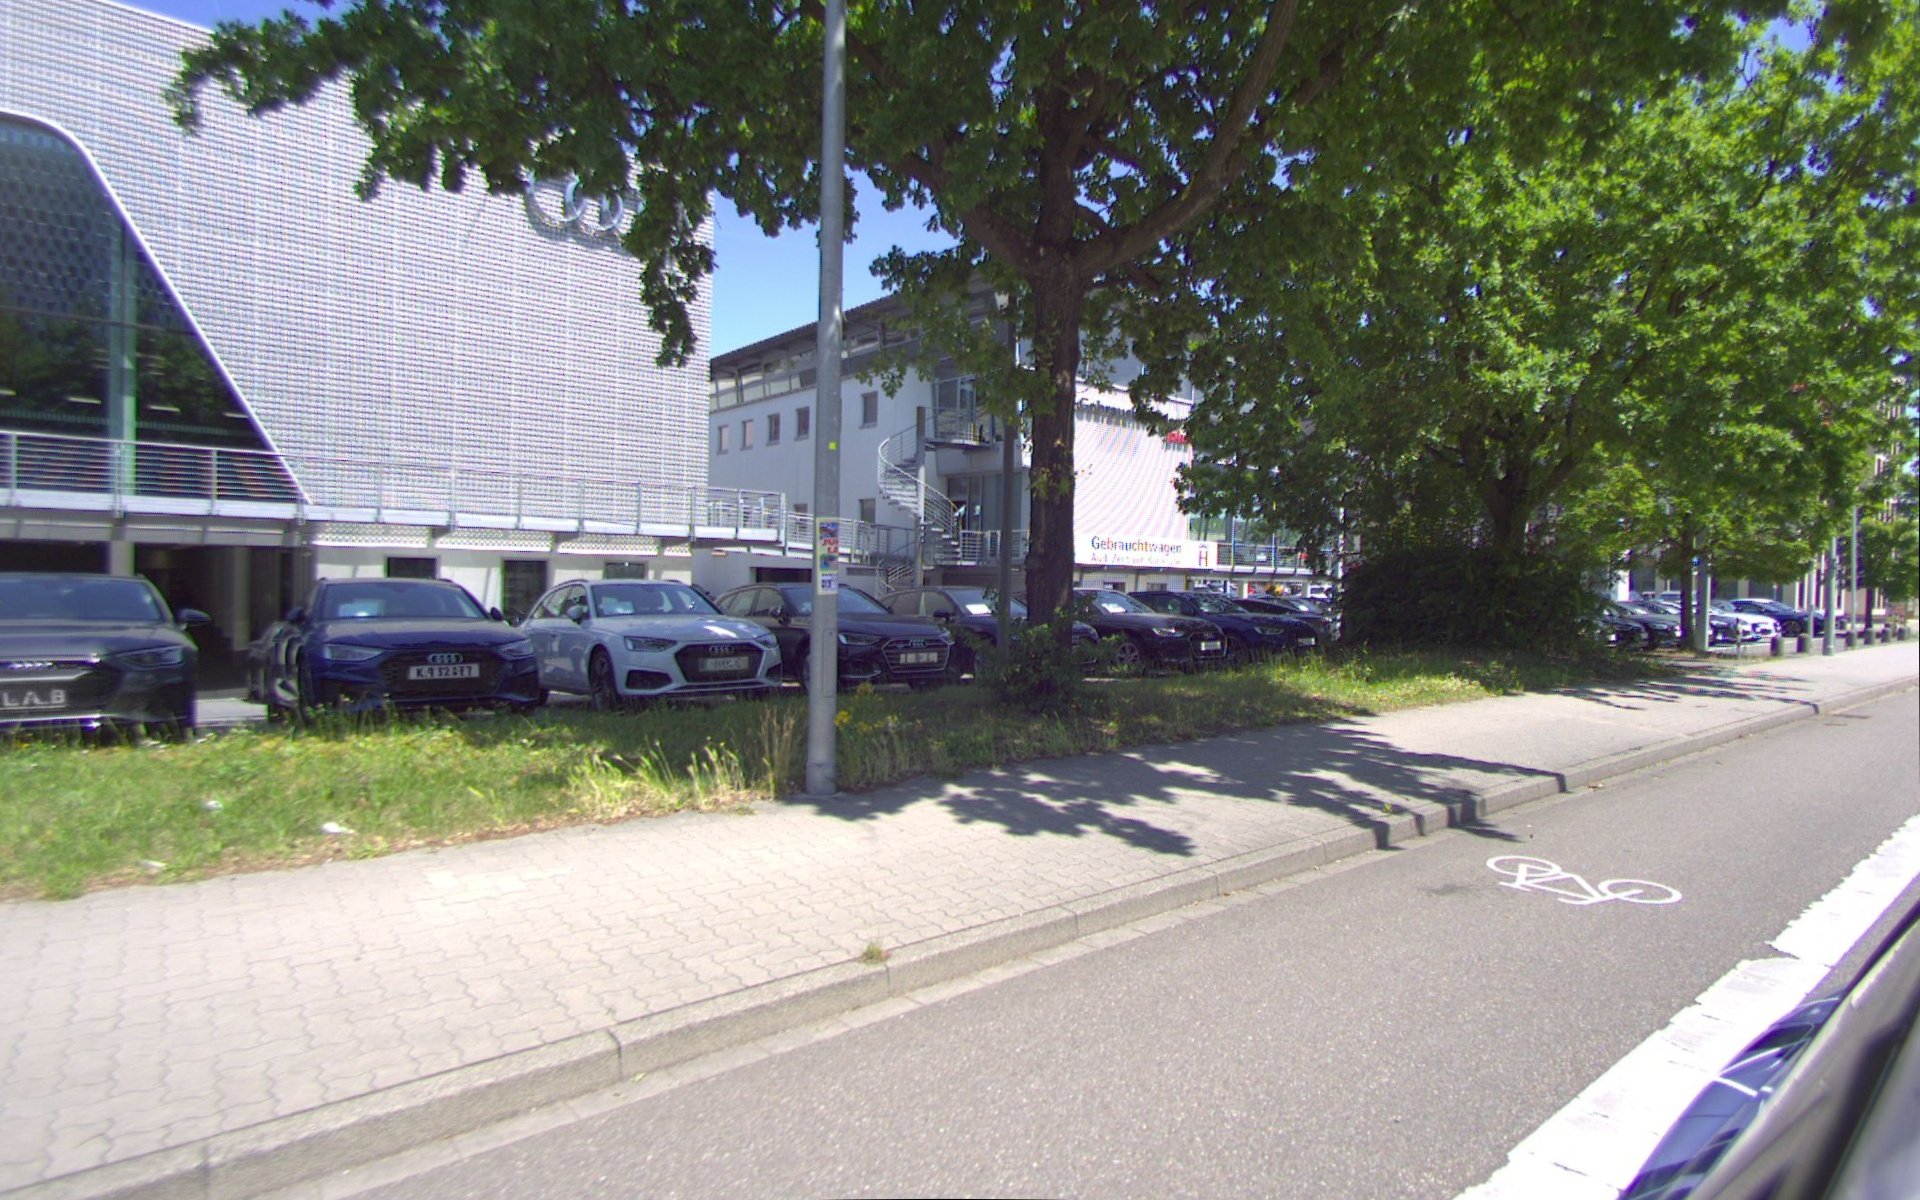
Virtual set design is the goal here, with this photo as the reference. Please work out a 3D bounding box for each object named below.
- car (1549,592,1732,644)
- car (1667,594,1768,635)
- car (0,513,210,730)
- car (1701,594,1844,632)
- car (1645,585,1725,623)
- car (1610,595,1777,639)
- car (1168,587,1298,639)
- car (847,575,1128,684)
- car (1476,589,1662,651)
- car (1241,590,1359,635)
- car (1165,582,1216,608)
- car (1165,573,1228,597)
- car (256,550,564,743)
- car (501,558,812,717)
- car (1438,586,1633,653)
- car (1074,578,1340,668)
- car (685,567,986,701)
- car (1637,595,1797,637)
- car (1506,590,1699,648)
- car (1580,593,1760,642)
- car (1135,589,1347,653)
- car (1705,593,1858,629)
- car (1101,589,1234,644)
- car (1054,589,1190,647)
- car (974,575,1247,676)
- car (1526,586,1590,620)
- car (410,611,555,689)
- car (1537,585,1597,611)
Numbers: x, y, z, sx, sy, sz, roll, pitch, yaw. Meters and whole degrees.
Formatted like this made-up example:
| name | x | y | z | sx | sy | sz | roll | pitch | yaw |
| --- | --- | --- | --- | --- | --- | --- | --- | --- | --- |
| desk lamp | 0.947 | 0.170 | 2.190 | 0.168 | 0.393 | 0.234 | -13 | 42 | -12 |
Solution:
| name | x | y | z | sx | sy | sz | roll | pitch | yaw |
| --- | --- | --- | --- | --- | --- | --- | --- | --- | --- |
| car | 19.930 | 0.517 | 29.773 | 1.835 | 1.423 | 4.109 | 0 | -1 | -39 |
| car | 28.409 | 0.509 | 37.898 | 4.577 | 1.438 | 1.867 | 0 | -1 | -38 |
| car | -7.378 | 0.213 | 8.179 | 1.952 | 1.387 | 4.229 | 0 | -2 | -39 |
| car | 31.990 | 0.509 | 39.932 | 1.835 | 1.408 | 4.104 | 0 | -1 | -39 |
| car | 34.102 | 0.155 | 47.561 | 4.422 | 1.577 | 1.873 | -1 | 3 | -39 |
| car | 24.030 | 0.536 | 33.274 | 1.835 | 1.366 | 4.108 | 0 | -1 | -39 |
| car | 9.403 | 0.488 | 35.096 | 1.817 | 1.676 | 3.993 | 0 | -2 | -39 |
| car | 0.257 | 0.440 | 14.947 | 1.845 | 1.373 | 4.229 | 0 | -2 | -39 |
| car | 15.557 | 0.487 | 25.991 | 1.801 | 1.472 | 3.689 | 0 | -1 | -39 |
| car | 12.797 | 0.470 | 38.269 | 1.604 | 1.593 | 3.991 | 0 | -1 | -39 |
| car | 15.265 | -0.351 | 67.143 | 1.653 | 1.522 | 3.811 | -1 | 3 | -17 |
| car | 18.094 | -1.200 | 77.552 | 1.878 | 1.715 | 4.589 | 1 | 1 | -36 |
| car | -5.446 | 0.450 | 9.721 | 1.883 | 1.425 | 4.228 | 0 | -3 | -39 |
| car | -3.559 | 0.409 | 11.311 | 1.883 | 1.425 | 4.229 | 0 | -2 | -39 |
| car | 13.787 | 0.448 | 24.393 | 1.801 | 1.472 | 3.689 | 0 | -1 | -39 |
| car | 4.286 | 0.443 | 18.205 | 1.801 | 1.411 | 4.458 | 0 | -2 | -39 |
| car | -1.756 | 0.432 | 12.973 | 1.883 | 1.425 | 4.229 | 0 | -2 | -39 |
| car | 26.097 | 0.537 | 34.987 | 1.840 | 1.382 | 4.104 | 0 | -1 | -39 |
| car | 17.633 | 0.498 | 27.925 | 1.835 | 1.472 | 4.109 | 0 | -1 | -39 |
| car | 21.955 | 0.521 | 31.439 | 1.835 | 1.408 | 4.235 | 0 | -1 | -39 |
| car | 6.402 | 0.491 | 23.466 | 4.383 | 1.332 | 1.849 | -1 | -2 | 4 |
| car | 33.715 | 0.443 | 41.630 | 1.835 | 1.408 | 4.602 | 0 | -1 | -39 |
| car | 6.661 | 0.512 | 32.818 | 1.817 | 1.675 | 3.994 | 0 | -1 | -39 |
| car | 4.964 | 0.531 | 31.412 | 1.817 | 1.675 | 3.994 | 0 | -1 | -39 |
| car | 2.312 | 0.438 | 16.540 | 1.792 | 1.425 | 4.333 | 0 | -2 | -39 |
| car | 30.573 | 0.168 | 51.710 | 3.932 | 1.675 | 1.845 | 0 | -1 | -44 |
| car | -9.701 | 0.985 | 20.391 | 1.702 | 1.382 | 4.229 | 0 | -2 | -39 |
| car | 45.623 | -0.172 | 76.223 | 1.886 | 1.910 | 4.925 | 1 | 1 | 6 |
